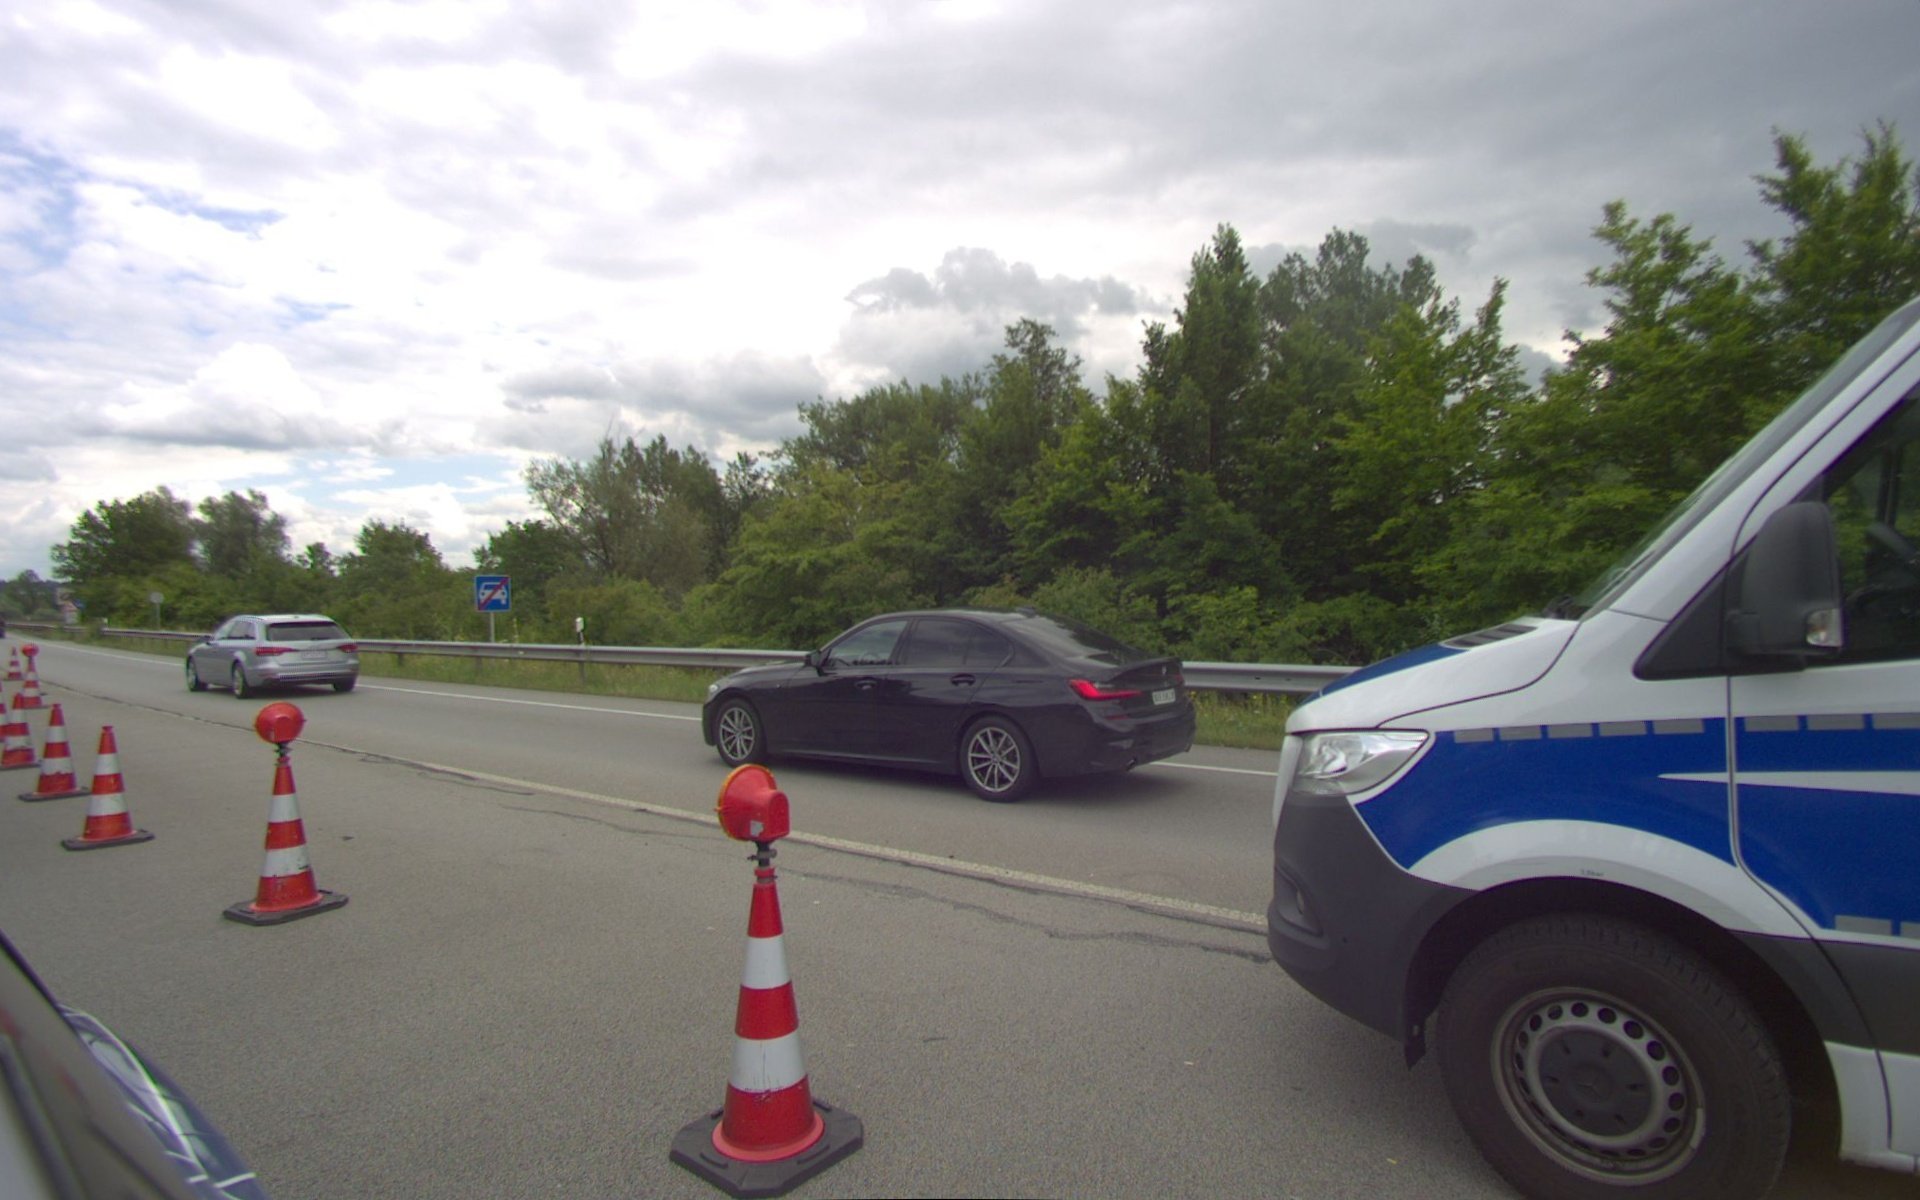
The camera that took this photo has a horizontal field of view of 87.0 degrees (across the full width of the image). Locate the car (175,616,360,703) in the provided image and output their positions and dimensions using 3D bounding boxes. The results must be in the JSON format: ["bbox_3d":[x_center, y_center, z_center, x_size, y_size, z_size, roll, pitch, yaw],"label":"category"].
[{"bbox_3d":[-12.856,1.023,18.684,4.370,1.412,1.662,-1,-1,39],"label":"car"}]

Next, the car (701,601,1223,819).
[{"bbox_3d":[-0.135,0.764,8.693,4.328,1.447,1.693,-1,-1,36],"label":"car"}]

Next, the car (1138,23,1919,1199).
[{"bbox_3d":[3.210,0.138,2.079,5.272,2.482,2.010,-1,-1,38],"label":"car"}]
